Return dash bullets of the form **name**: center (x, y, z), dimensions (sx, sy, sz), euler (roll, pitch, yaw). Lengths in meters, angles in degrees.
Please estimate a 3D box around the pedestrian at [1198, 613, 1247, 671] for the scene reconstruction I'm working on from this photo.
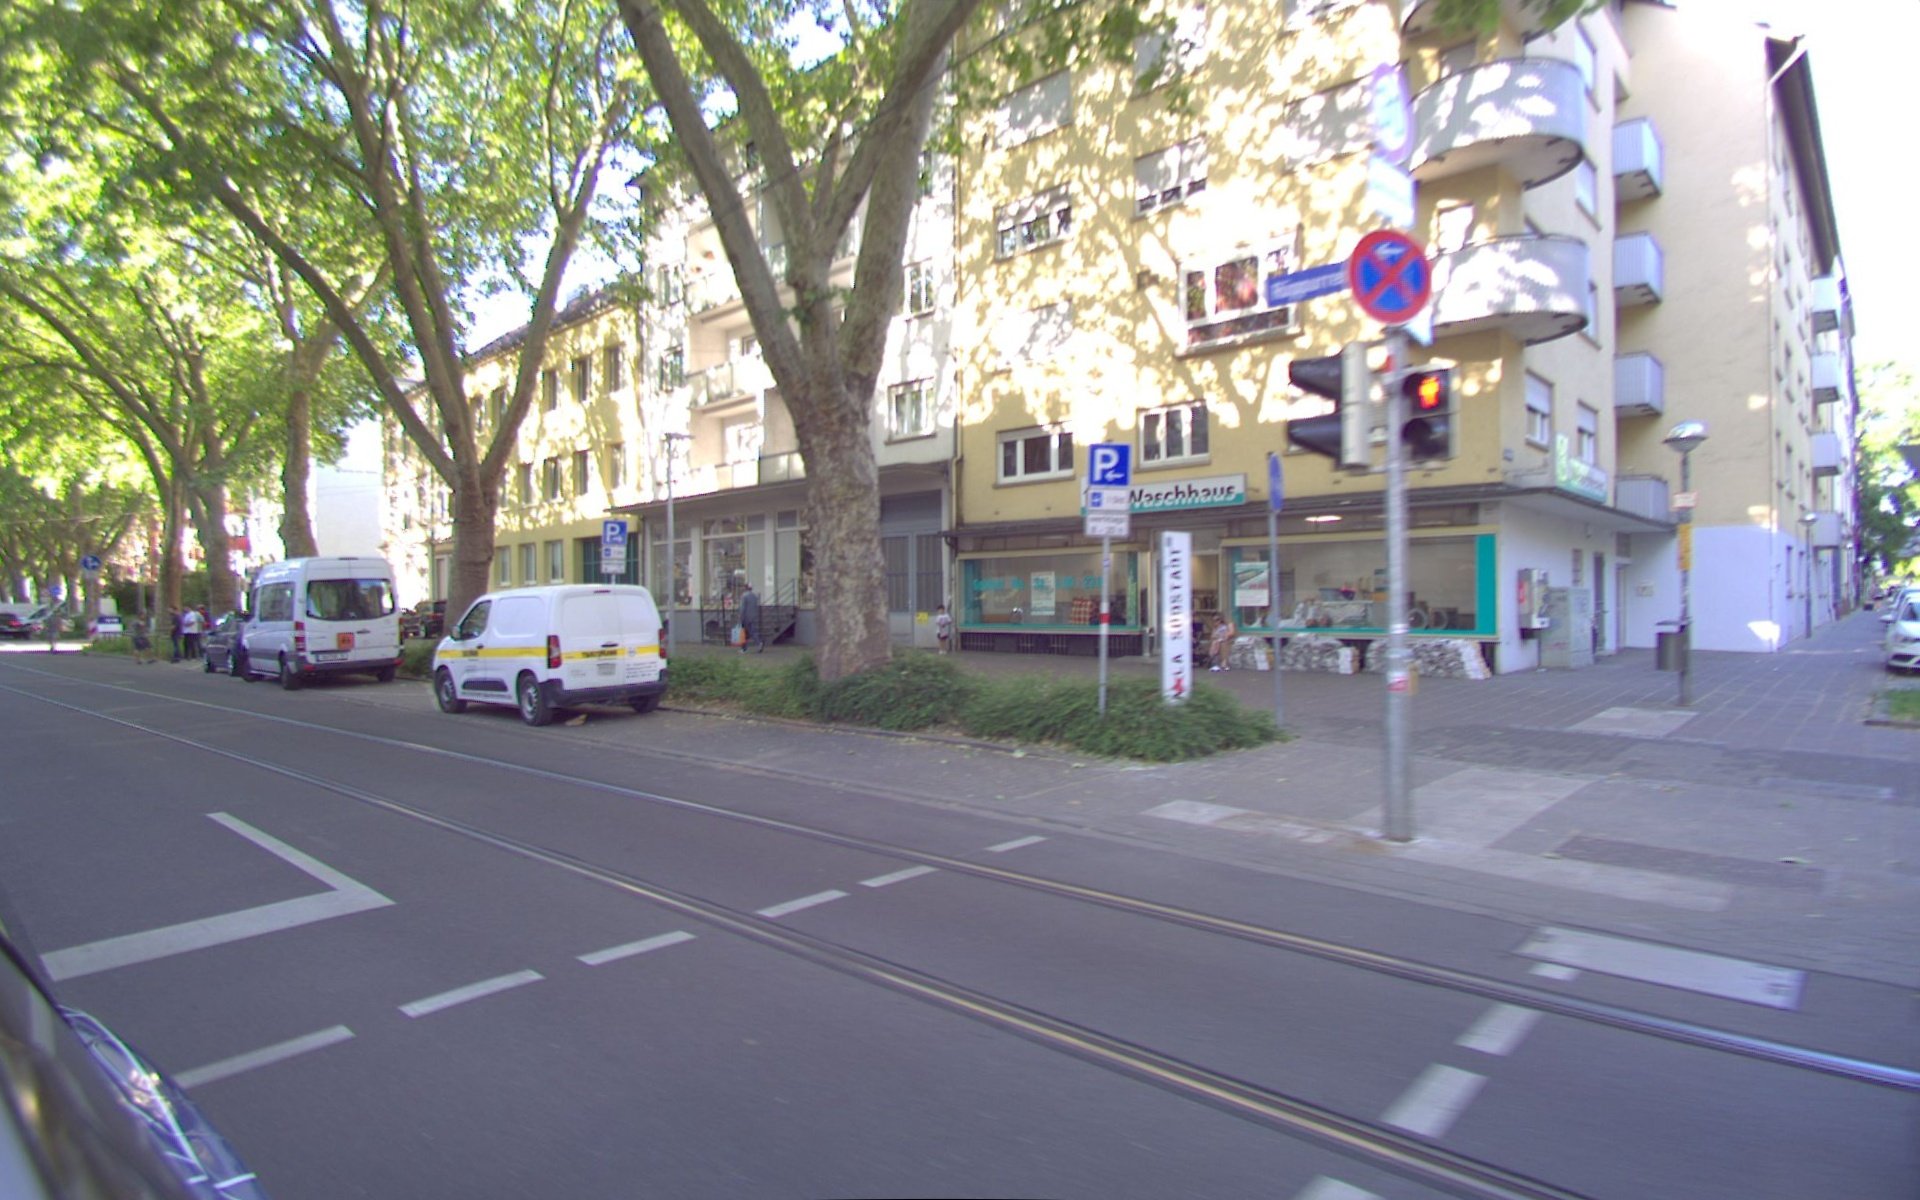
- **pedestrian**: center (5.010, 0.791, 19.313), dimensions (0.711, 1.055, 0.572), euler (-1, 1, 42)

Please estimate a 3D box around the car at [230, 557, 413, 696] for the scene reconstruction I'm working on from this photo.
- **car**: center (-13.925, 0.489, 21.862), dimensions (2.084, 2.596, 6.028), euler (-2, 1, -44)

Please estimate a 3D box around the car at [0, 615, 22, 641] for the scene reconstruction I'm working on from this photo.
- **car**: center (-62.803, 1.794, 66.004), dimensions (4.181, 1.696, 1.902), euler (-1, -2, 42)

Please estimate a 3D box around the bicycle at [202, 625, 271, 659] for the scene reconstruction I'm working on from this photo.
- **bicycle**: center (-24.640, 1.421, 34.498), dimensions (1.820, 1.088, 0.571), euler (-1, 1, -20)

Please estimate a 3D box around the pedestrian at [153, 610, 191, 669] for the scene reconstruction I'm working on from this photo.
- **pedestrian**: center (-24.685, 1.219, 31.730), dimensions (0.757, 1.790, 0.716), euler (-1, 0, -25)

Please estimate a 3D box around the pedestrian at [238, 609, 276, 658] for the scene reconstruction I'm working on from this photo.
- **pedestrian**: center (-23.731, 1.128, 34.171), dimensions (0.759, 1.622, 0.715), euler (-1, 0, -5)

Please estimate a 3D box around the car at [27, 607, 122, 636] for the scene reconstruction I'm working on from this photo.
- **car**: center (-66.401, 1.565, 75.940), dimensions (1.998, 2.010, 5.071), euler (-1, 1, 38)

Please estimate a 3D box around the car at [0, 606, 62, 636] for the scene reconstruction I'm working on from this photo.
- **car**: center (-84.117, 1.865, 91.158), dimensions (2.000, 2.552, 4.599), euler (-1, 1, 43)

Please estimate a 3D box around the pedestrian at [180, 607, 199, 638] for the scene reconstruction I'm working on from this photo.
- **pedestrian**: center (-45.633, 1.301, 59.946), dimensions (0.668, 1.793, 0.715), euler (0, 1, 34)

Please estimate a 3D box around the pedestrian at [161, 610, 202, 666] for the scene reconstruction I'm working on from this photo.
- **pedestrian**: center (-25.096, 1.221, 32.620), dimensions (0.759, 1.748, 0.715), euler (-1, 0, -5)

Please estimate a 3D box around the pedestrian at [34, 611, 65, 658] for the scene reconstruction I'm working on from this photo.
- **pedestrian**: center (-36.162, 1.356, 40.202), dimensions (0.799, 1.805, 0.693), euler (-1, 0, 31)

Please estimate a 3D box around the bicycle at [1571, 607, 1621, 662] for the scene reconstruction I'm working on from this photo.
- **bicycle**: center (13.322, 0.704, 21.183), dimensions (0.543, 1.092, 1.615), euler (-2, -1, 44)

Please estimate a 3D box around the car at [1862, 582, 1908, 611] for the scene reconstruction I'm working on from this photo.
- **car**: center (56.547, -0.248, 61.899), dimensions (2.000, 1.696, 3.944), euler (-1, 1, 42)

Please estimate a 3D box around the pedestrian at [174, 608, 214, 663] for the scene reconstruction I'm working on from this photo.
- **pedestrian**: center (-25.164, 1.166, 33.269), dimensions (0.759, 1.748, 0.718), euler (-1, 0, -5)

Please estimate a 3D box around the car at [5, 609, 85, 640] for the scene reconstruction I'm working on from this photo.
- **car**: center (-73.357, 1.917, 81.140), dimensions (2.000, 2.323, 4.599), euler (-1, 1, 43)

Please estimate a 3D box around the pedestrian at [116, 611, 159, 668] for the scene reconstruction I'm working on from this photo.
- **pedestrian**: center (-26.048, 1.238, 32.062), dimensions (0.705, 1.748, 0.769), euler (-1, 0, 7)

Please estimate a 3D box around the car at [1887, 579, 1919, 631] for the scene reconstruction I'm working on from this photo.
- **car**: center (33.372, 0.131, 34.899), dimensions (2.000, 1.696, 3.944), euler (-1, 1, 42)

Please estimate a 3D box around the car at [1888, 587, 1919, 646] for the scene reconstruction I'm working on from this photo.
- **car**: center (26.439, 0.405, 27.299), dimensions (2.000, 1.469, 3.944), euler (-1, 1, 42)

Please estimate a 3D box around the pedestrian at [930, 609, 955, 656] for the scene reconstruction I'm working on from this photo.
- **pedestrian**: center (-0.431, 0.793, 24.599), dimensions (0.436, 1.114, 0.417), euler (-1, 1, 33)

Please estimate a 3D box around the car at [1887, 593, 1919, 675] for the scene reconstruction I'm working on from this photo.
- **car**: center (18.729, 0.585, 18.927), dimensions (2.000, 1.386, 3.944), euler (-1, 1, 42)

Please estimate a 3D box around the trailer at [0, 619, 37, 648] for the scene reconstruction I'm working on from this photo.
- **trailer**: center (-58.833, 2.024, 62.211), dimensions (6.582, 1.644, 2.420), euler (-1, -2, 42)

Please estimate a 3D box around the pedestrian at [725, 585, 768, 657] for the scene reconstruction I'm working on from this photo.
- **pedestrian**: center (-5.704, 0.546, 27.005), dimensions (0.863, 1.883, 0.736), euler (-1, 1, 41)

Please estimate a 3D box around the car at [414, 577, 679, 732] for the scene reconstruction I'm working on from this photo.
- **car**: center (-5.961, 0.659, 14.341), dimensions (4.317, 1.864, 1.744), euler (-1, 1, 42)

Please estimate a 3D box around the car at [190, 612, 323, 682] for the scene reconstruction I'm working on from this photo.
- **car**: center (-18.095, 1.136, 25.969), dimensions (4.283, 1.573, 1.896), euler (-1, 1, 43)

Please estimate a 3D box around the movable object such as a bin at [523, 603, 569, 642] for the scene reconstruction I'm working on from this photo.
- **movable object such as a bin**: center (-16.409, 0.881, 40.147), dimensions (1.343, 1.513, 1.217), euler (-1, 1, 42)

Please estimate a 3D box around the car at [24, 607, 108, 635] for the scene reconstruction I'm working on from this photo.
- **car**: center (-59.458, 1.398, 67.343), dimensions (1.908, 1.622, 3.945), euler (-4, -1, 41)

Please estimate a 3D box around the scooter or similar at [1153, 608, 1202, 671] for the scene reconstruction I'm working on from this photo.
- **scooter or similar**: center (4.167, 0.744, 19.446), dimensions (0.633, 1.176, 0.677), euler (-1, 0, -20)

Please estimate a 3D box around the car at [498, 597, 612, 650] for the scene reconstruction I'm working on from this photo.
- **car**: center (-14.696, 0.822, 36.603), dimensions (4.899, 1.746, 1.971), euler (-1, 1, 44)
